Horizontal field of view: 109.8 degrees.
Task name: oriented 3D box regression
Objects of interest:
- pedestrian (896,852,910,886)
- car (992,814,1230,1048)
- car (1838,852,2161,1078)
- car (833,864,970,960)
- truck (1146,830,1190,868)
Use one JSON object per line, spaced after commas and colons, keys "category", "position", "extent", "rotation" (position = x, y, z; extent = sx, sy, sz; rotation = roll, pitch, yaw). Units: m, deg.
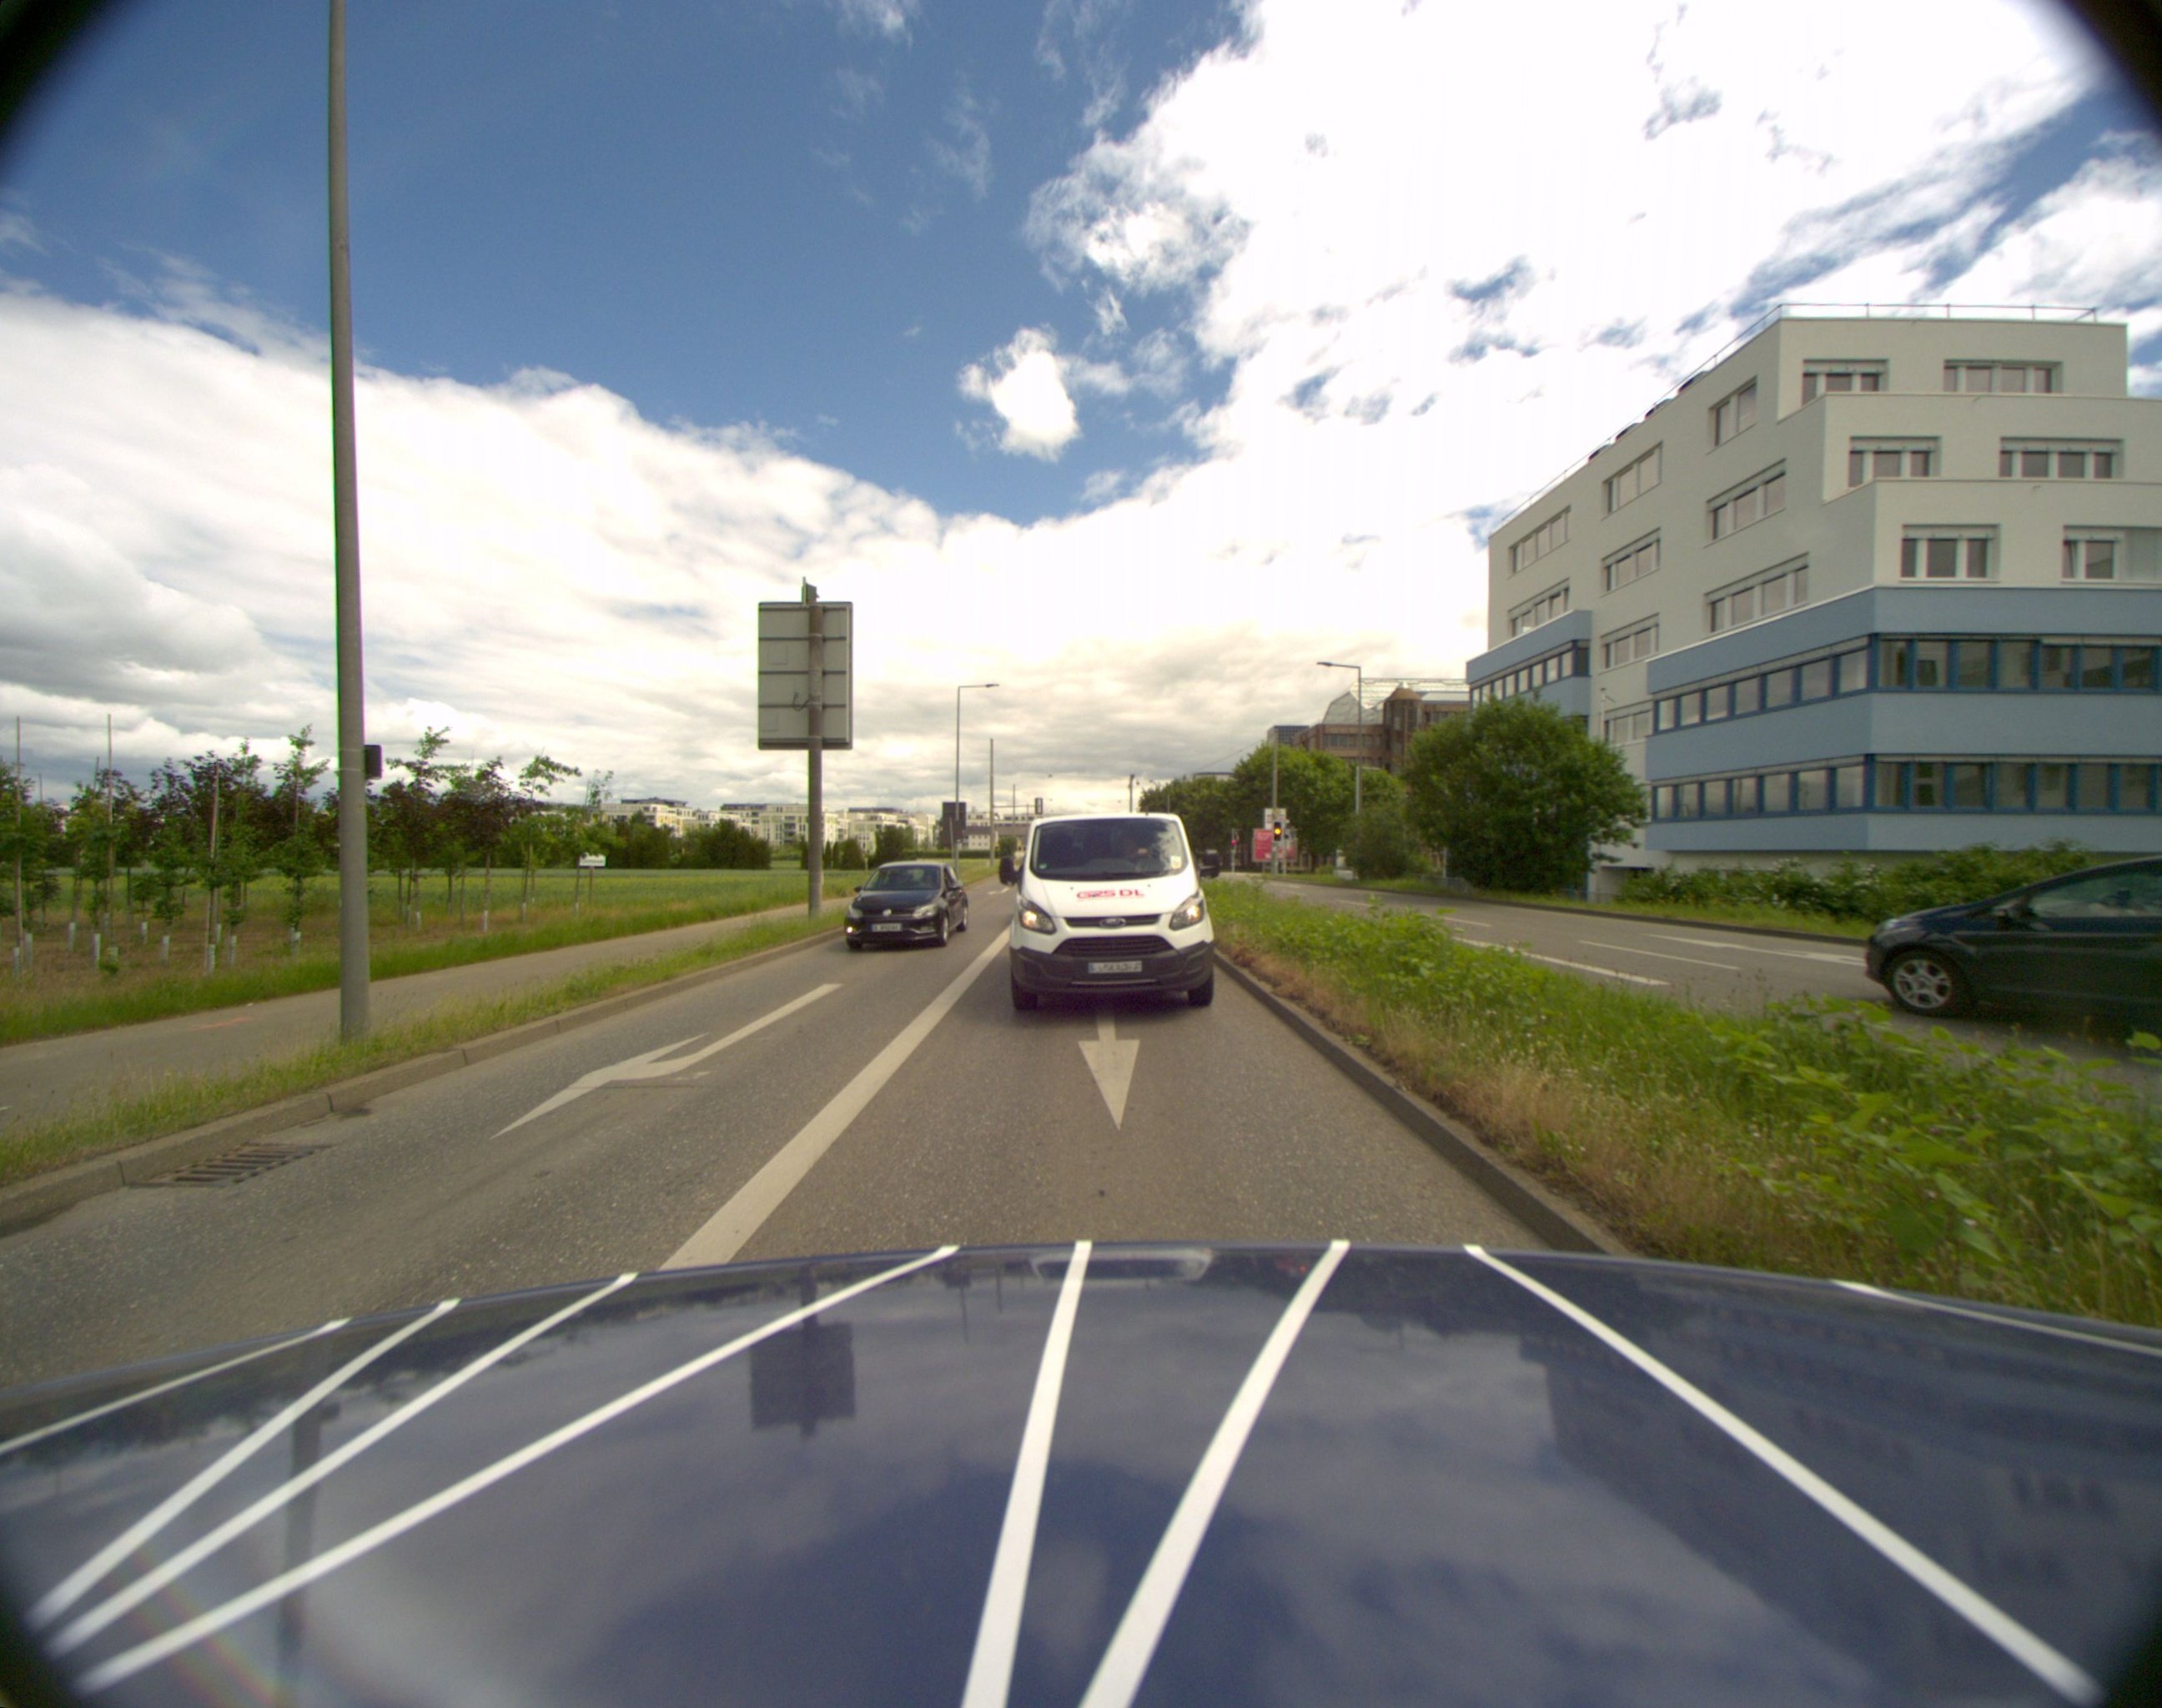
{"category": "pedestrian", "position": [-8.903, 0.744, 37.920], "extent": [0.492, 1.693, 0.626], "rotation": [-2, 1, -1]}
{"category": "car", "position": [0.282, 0.645, 8.967], "extent": [1.968, 1.938, 5.054], "rotation": [-1, 0, 1]}
{"category": "car", "position": [8.127, 0.755, 5.280], "extent": [1.759, 1.438, 3.890], "rotation": [-2, 1, -3]}
{"category": "car", "position": [-3.116, 0.940, 13.914], "extent": [1.683, 1.410, 3.739], "rotation": [-1, 1, -1]}
{"category": "truck", "position": [8.534, -0.510, 75.717], "extent": [3.176, 3.498, 9.524], "rotation": [0, 1, 0]}
